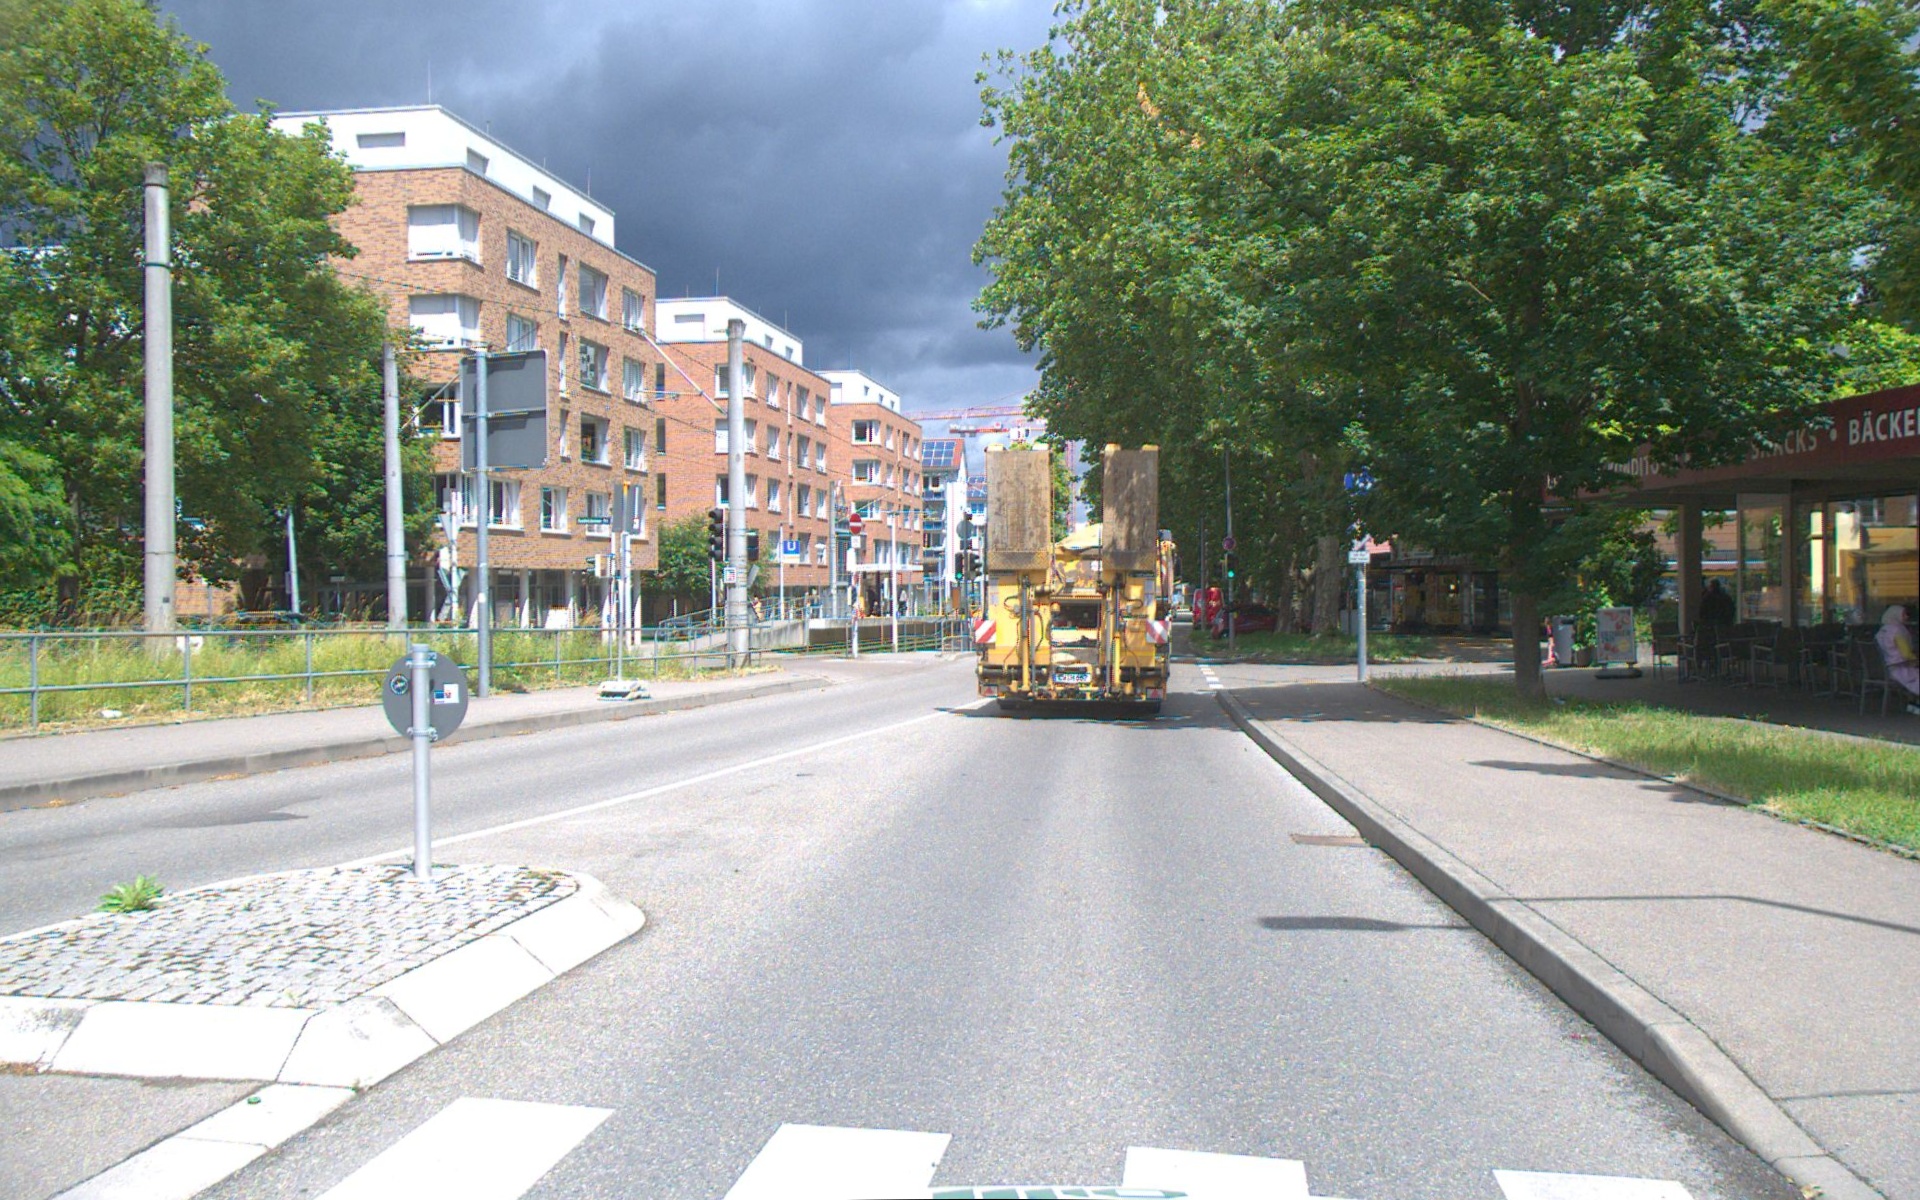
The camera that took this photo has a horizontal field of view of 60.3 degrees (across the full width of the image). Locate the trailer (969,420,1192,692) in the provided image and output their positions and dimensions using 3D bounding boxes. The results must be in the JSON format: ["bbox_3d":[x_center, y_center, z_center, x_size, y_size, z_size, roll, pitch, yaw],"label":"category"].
[{"bbox_3d":[2.125,-0.558,26.667,2.803,3.431,10.848,-1,0,6],"label":"trailer"}]

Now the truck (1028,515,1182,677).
[{"bbox_3d":[3.332,-0.054,36.323,2.924,3.088,8.492,-1,0,7],"label":"truck"}]

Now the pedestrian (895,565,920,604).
[{"bbox_3d":[-2.828,-0.821,89.186,1.113,2.049,0.999,-1,0,14],"label":"pedestrian"}]

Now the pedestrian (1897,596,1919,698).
[{"bbox_3d":[11.941,0.556,20.164,0.702,1.222,0.699,-1,0,12],"label":"pedestrian"}]

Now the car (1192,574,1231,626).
[{"bbox_3d":[14.915,-0.057,97.973,1.951,2.876,5.119,3,1,11],"label":"car"}]

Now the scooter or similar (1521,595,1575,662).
[{"bbox_3d":[11.651,0.548,32.749,0.509,1.248,1.724,0,2,37],"label":"scooter or similar"}]

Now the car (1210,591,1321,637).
[{"bbox_3d":[11.195,0.497,60.670,3.902,1.537,2.002,1,3,10],"label":"car"}]

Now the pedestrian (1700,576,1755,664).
[{"bbox_3d":[13.394,0.347,28.867,0.682,1.514,0.557,-1,0,2],"label":"pedestrian"}]

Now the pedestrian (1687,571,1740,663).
[{"bbox_3d":[13.407,0.302,29.442,0.682,1.601,0.557,-1,0,2],"label":"pedestrian"}]

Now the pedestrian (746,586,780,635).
[{"bbox_3d":[-8.274,0.436,69.454,1.113,2.049,0.999,-1,0,14],"label":"pedestrian"}]

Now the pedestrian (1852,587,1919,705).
[{"bbox_3d":[11.082,0.531,19.445,0.859,1.348,0.611,-1,0,6],"label":"pedestrian"}]
